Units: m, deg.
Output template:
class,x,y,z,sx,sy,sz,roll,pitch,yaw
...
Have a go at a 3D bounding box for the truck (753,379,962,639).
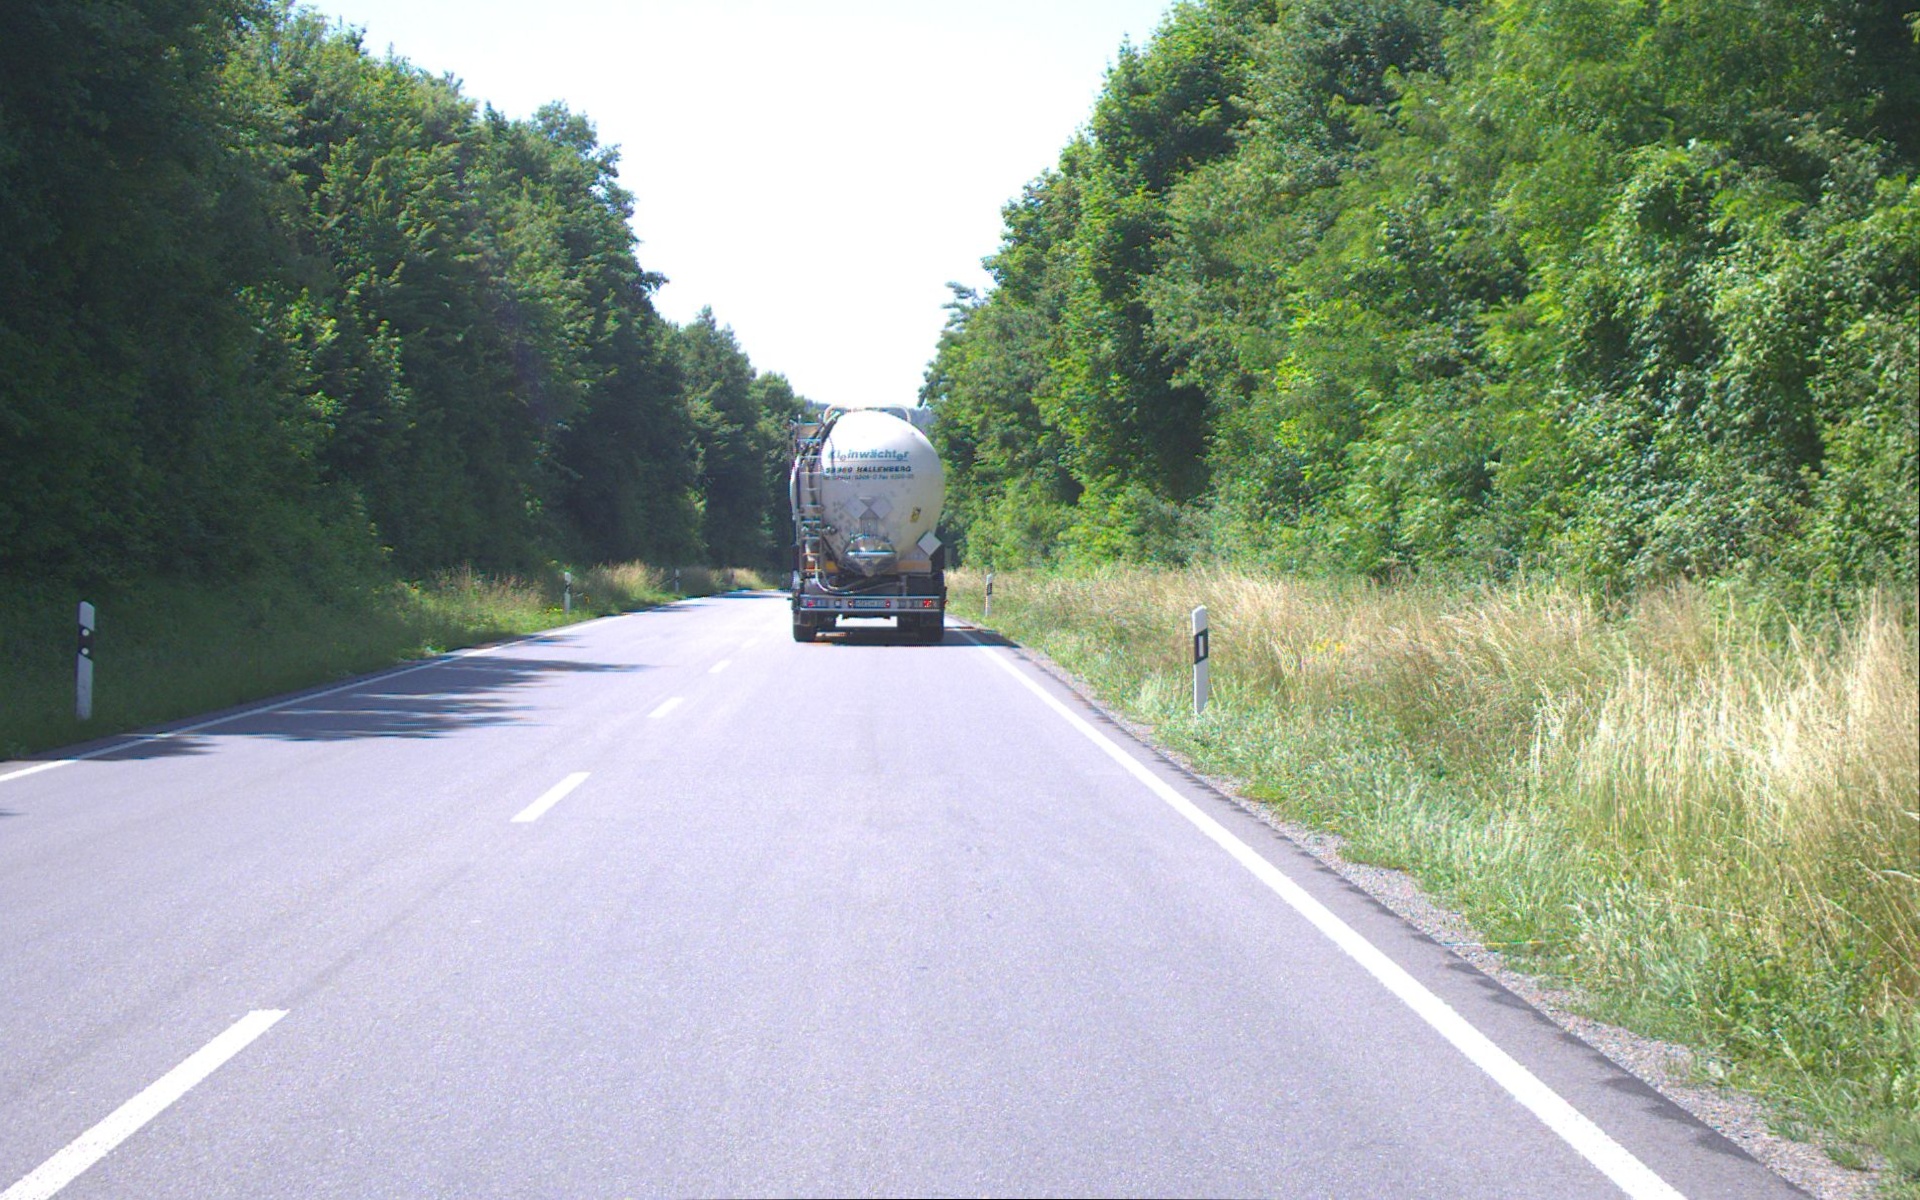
class,x,y,z,sx,sy,sz,roll,pitch,yaw
truck,-2.104,-1.490,62.559,3.049,3.984,15.638,3,0,-4
